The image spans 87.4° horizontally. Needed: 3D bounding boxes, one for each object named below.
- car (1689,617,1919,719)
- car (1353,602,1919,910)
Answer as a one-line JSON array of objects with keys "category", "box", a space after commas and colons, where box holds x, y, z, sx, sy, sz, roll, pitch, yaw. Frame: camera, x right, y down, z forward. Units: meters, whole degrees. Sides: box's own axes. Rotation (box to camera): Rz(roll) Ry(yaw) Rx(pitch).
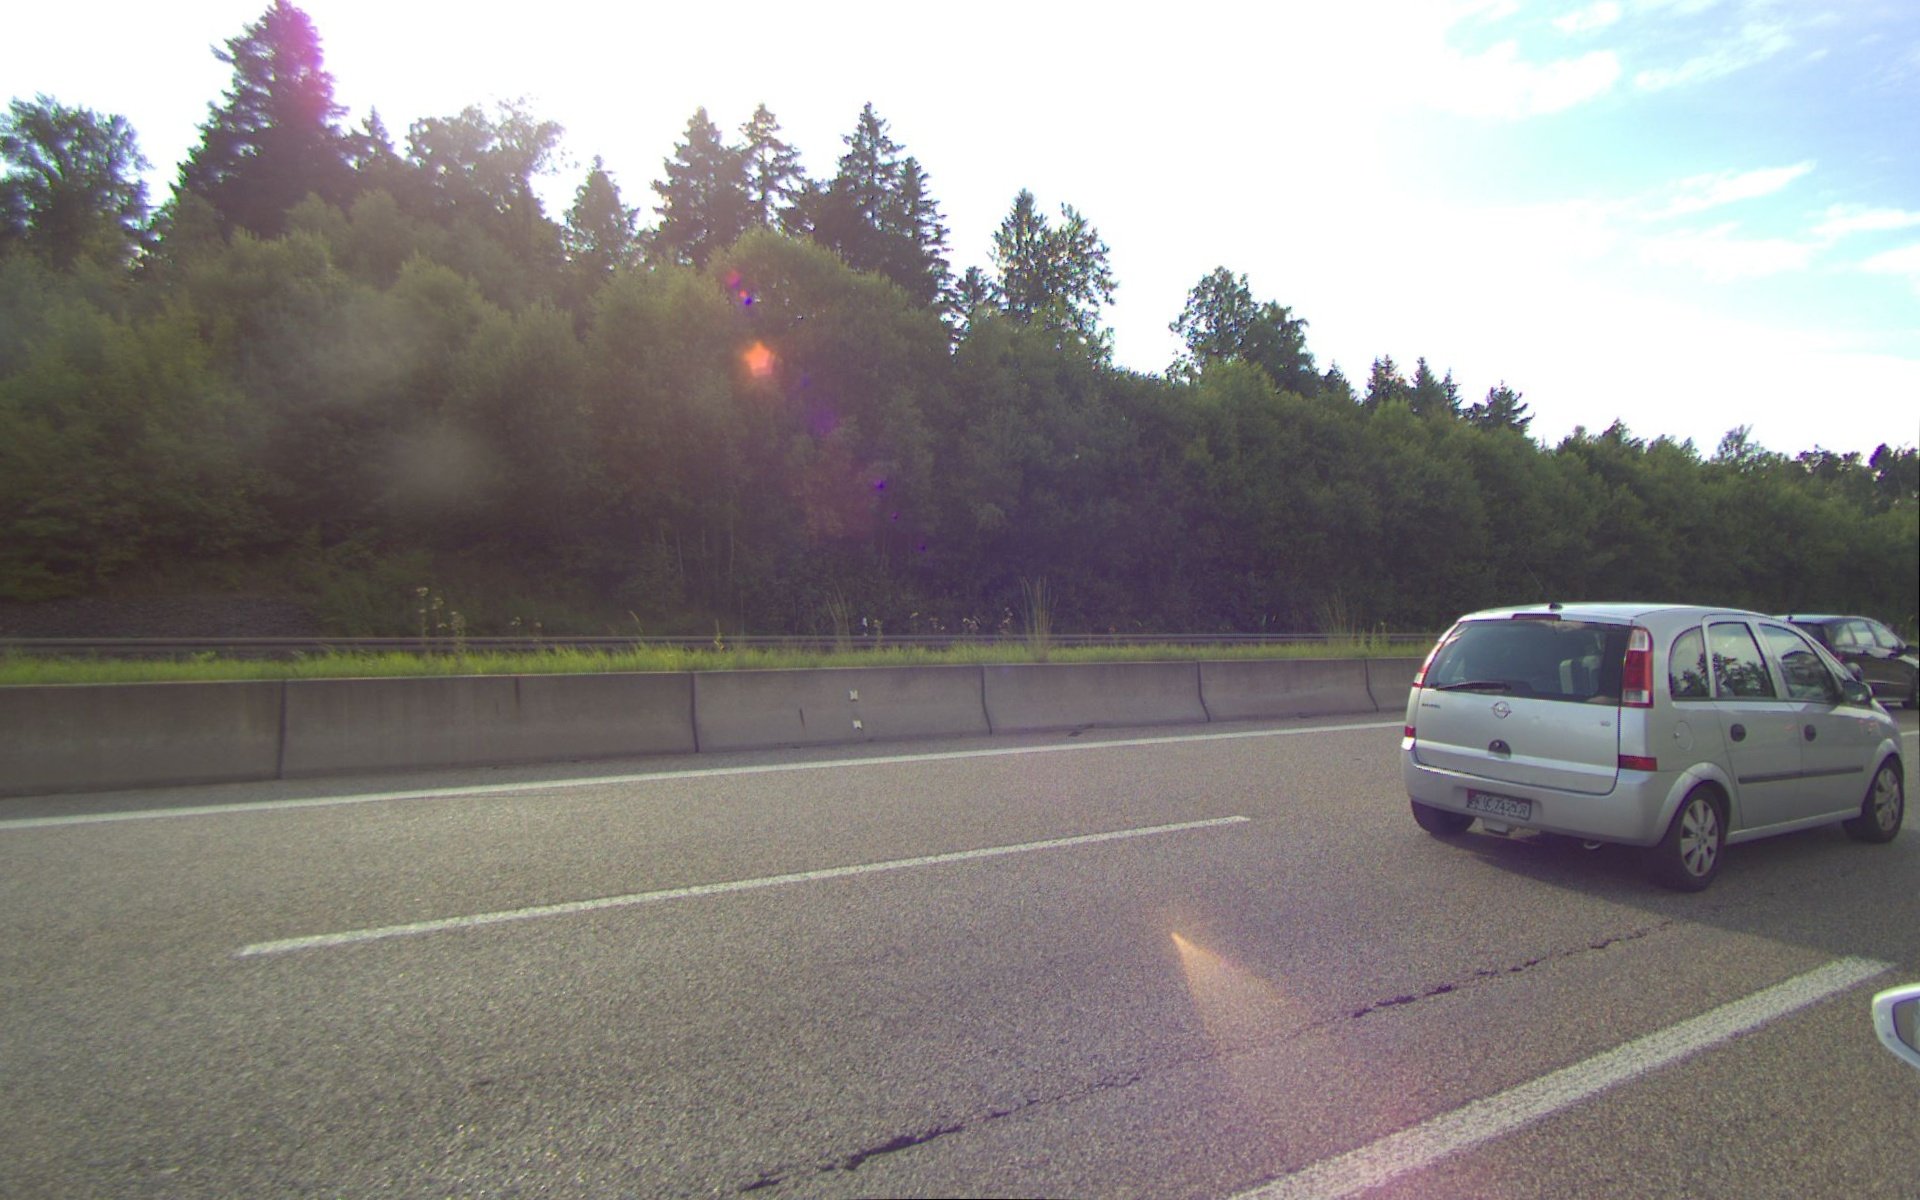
[{"category": "car", "box": [14.544, 1.079, 17.146, 4.282, 1.537, 1.827, 1, -1, -30]}, {"category": "car", "box": [4.891, 0.818, 6.890, 4.282, 1.537, 1.827, 1, -1, -30]}]
